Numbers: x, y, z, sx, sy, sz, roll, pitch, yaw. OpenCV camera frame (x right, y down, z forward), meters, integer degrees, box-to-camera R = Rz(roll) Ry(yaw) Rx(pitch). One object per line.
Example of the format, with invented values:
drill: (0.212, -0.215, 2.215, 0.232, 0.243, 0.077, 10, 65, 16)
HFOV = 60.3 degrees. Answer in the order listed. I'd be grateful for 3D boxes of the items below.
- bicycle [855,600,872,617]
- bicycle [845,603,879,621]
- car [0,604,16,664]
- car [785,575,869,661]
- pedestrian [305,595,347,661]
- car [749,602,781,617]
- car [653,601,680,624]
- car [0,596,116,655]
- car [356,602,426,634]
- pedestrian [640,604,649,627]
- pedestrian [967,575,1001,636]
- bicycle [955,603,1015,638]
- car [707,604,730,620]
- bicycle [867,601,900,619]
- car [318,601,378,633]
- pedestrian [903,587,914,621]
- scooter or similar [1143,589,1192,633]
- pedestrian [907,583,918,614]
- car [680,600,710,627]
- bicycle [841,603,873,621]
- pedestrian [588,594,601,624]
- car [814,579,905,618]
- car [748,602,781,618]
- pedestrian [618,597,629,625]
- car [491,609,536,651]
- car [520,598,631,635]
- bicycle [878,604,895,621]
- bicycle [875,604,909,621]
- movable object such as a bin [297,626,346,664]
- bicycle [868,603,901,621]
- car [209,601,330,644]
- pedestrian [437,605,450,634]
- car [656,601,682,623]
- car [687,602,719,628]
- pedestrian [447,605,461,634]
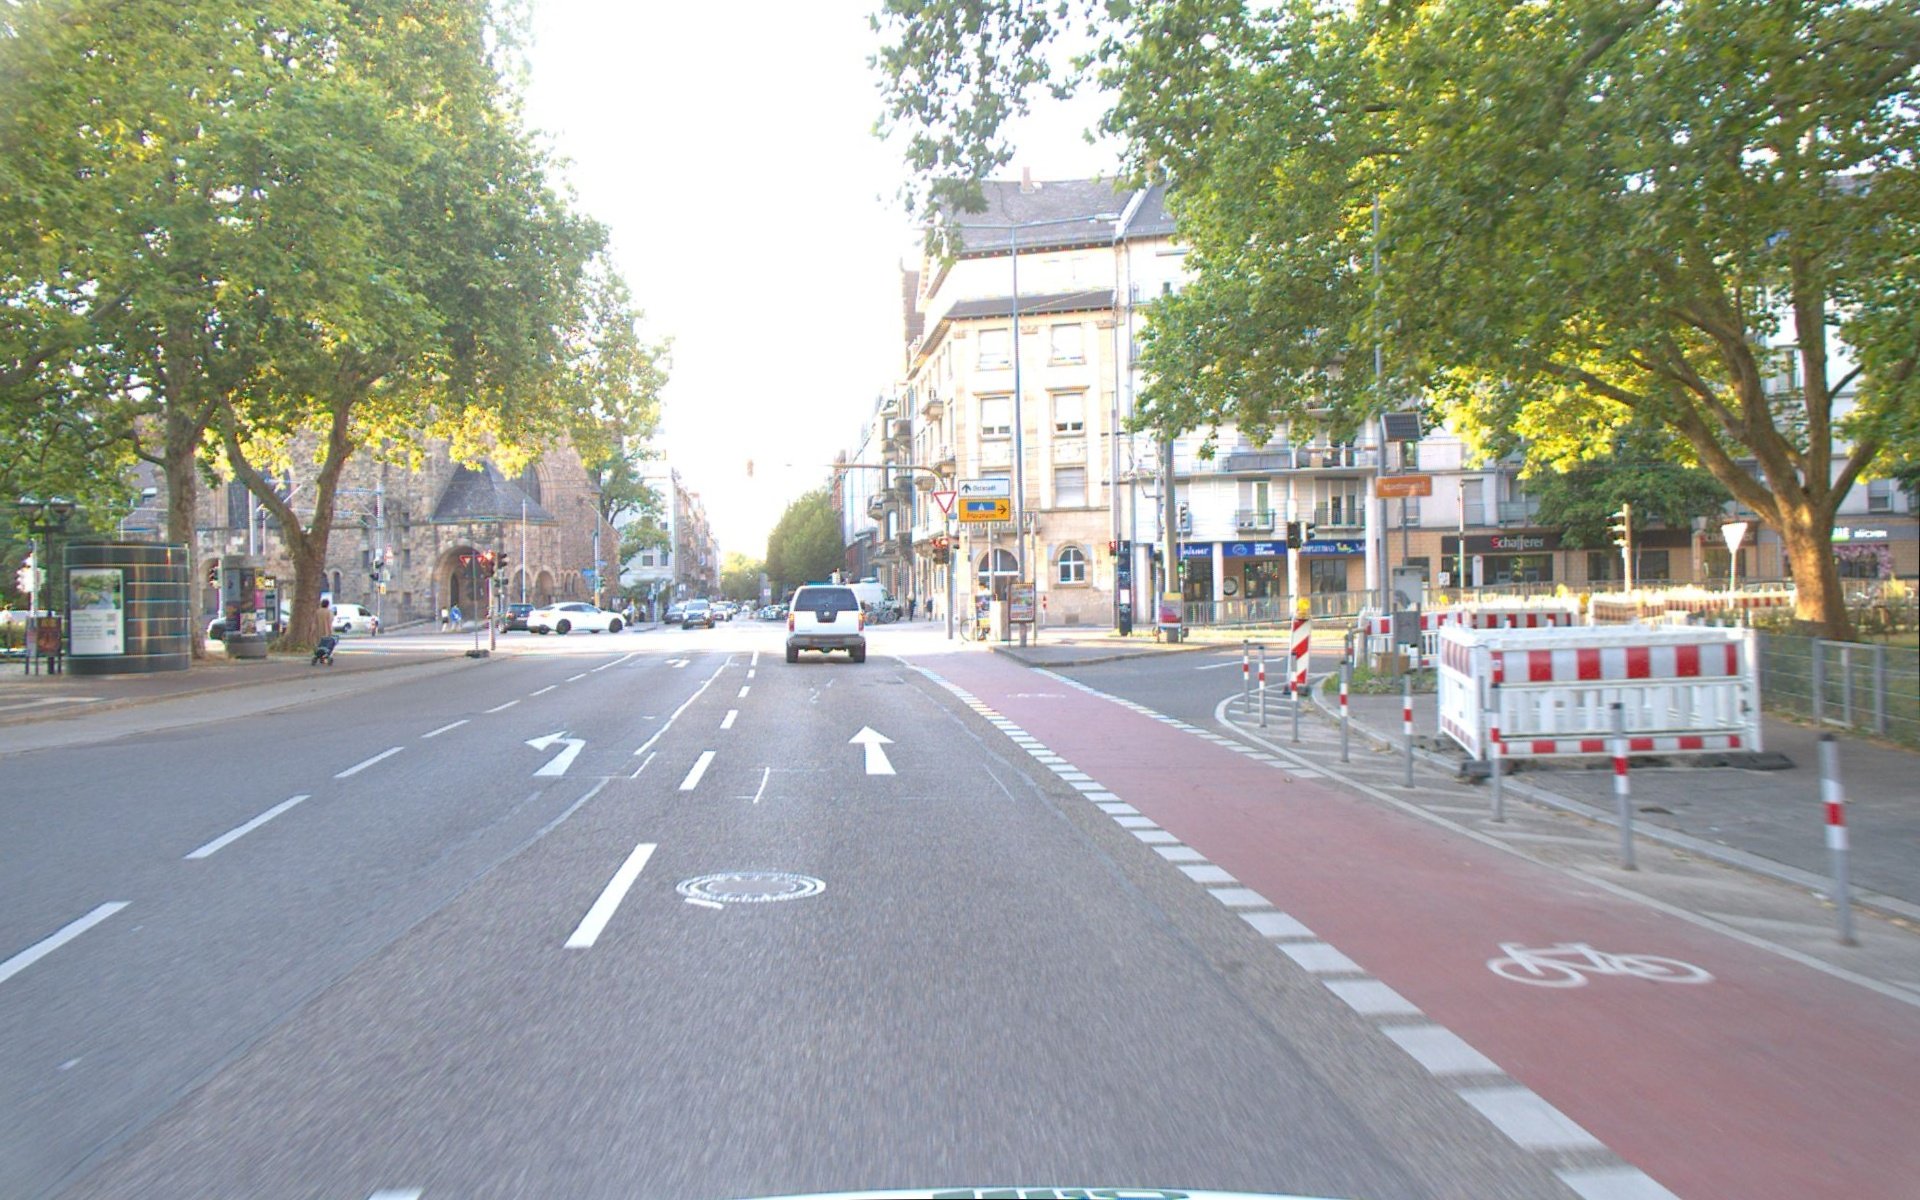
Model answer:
bicycle: (-5.675, 0.509, 97.721, 0.532, 0.985, 1.923, -1, 0, 11)
bicycle: (-5.654, 0.706, 95.573, 1.881, 0.985, 0.544, -1, 0, -13)
car: (-31.427, 1.126, 50.183, 2.034, 1.873, 4.634, -1, 1, 18)
car: (-3.134, 0.403, 39.183, 1.829, 1.846, 3.996, -2, 0, -4)
pedestrian: (-16.155, 0.710, 42.157, 0.722, 1.657, 0.686, -1, 0, 9)
car: (-24.473, 1.199, 207.612, 3.913, 1.847, 1.996, -1, 0, -9)
car: (-22.517, 0.953, 126.730, 1.958, 1.680, 3.811, 0, 0, -11)
car: (-32.015, 0.850, 57.504, 2.034, 1.873, 4.634, -1, 1, 18)
car: (-34.717, 1.093, 100.935, 3.713, 1.837, 1.714, -1, 0, 15)
pedestrian: (-26.177, 1.308, 137.105, 0.540, 1.919, 0.596, -1, 0, 8)
pedestrian: (0.711, 0.160, 48.837, 0.783, 1.799, 0.717, -1, 0, -21)
bicycle: (0.733, 0.591, 48.338, 1.661, 0.985, 0.544, -1, 0, -10)
car: (-22.975, 1.119, 157.191, 1.958, 1.533, 3.811, 0, 0, -11)
bicycle: (-4.384, 0.595, 94.948, 1.877, 0.985, 0.545, -1, 0, -5)
car: (-38.206, 1.049, 103.344, 1.672, 1.943, 3.496, -1, 0, 20)
pedestrian: (-2.963, 0.213, 95.391, 0.581, 1.919, 0.647, -1, 0, -1)
scooter or similar: (6.047, 0.320, 48.272, 0.541, 1.272, 1.368, -1, 0, -42)
pedestrian: (-2.725, -0.084, 95.057, 0.581, 1.799, 0.653, -1, 0, -1)
car: (-16.862, 0.823, 105.236, 1.749, 1.680, 3.811, 0, 0, -11)
bicycle: (-6.004, 0.706, 96.354, 1.877, 0.985, 0.545, -1, 0, -5)
pedestrian: (-23.372, 0.594, 105.794, 0.640, 1.919, 0.586, -1, 0, 8)
car: (-6.125, -0.107, 101.372, 2.037, 2.328, 5.784, -1, 0, 44)
car: (-23.557, 1.144, 199.130, 3.913, 1.847, 1.996, -1, 0, -9)
pedestrian: (-23.291, 0.757, 114.497, 0.580, 1.919, 0.554, -1, 0, 10)
car: (-22.071, 1.458, 81.658, 2.044, 1.873, 4.611, -1, 1, -16)
car: (-17.404, 0.721, 75.016, 1.965, 1.557, 4.614, -1, 0, 43)
bicycle: (-4.338, 0.718, 97.380, 0.532, 0.985, 1.923, -1, 0, 11)
bicycle: (-3.954, 0.720, 96.042, 1.874, 0.985, 0.546, -1, 0, 11)
movable object such as a bin: (-15.928, 1.116, 41.275, 0.722, 0.906, 0.983, -1, 0, 9)
bicycle: (-4.371, 0.713, 95.228, 1.877, 0.985, 0.545, -1, 0, -5)
car: (-28.564, 0.919, 68.511, 4.166, 1.680, 1.999, -1, 0, -3)
pedestrian: (-28.808, 1.101, 92.255, 0.544, 1.612, 0.548, -1, 0, 4)
car: (-23.653, 0.970, 134.379, 1.958, 1.680, 3.811, 0, 0, -11)
car: (-16.981, 0.996, 109.184, 1.958, 1.680, 3.811, 0, 0, -11)
pedestrian: (-28.222, 1.096, 92.202, 0.544, 1.612, 0.548, -1, 0, 4)
